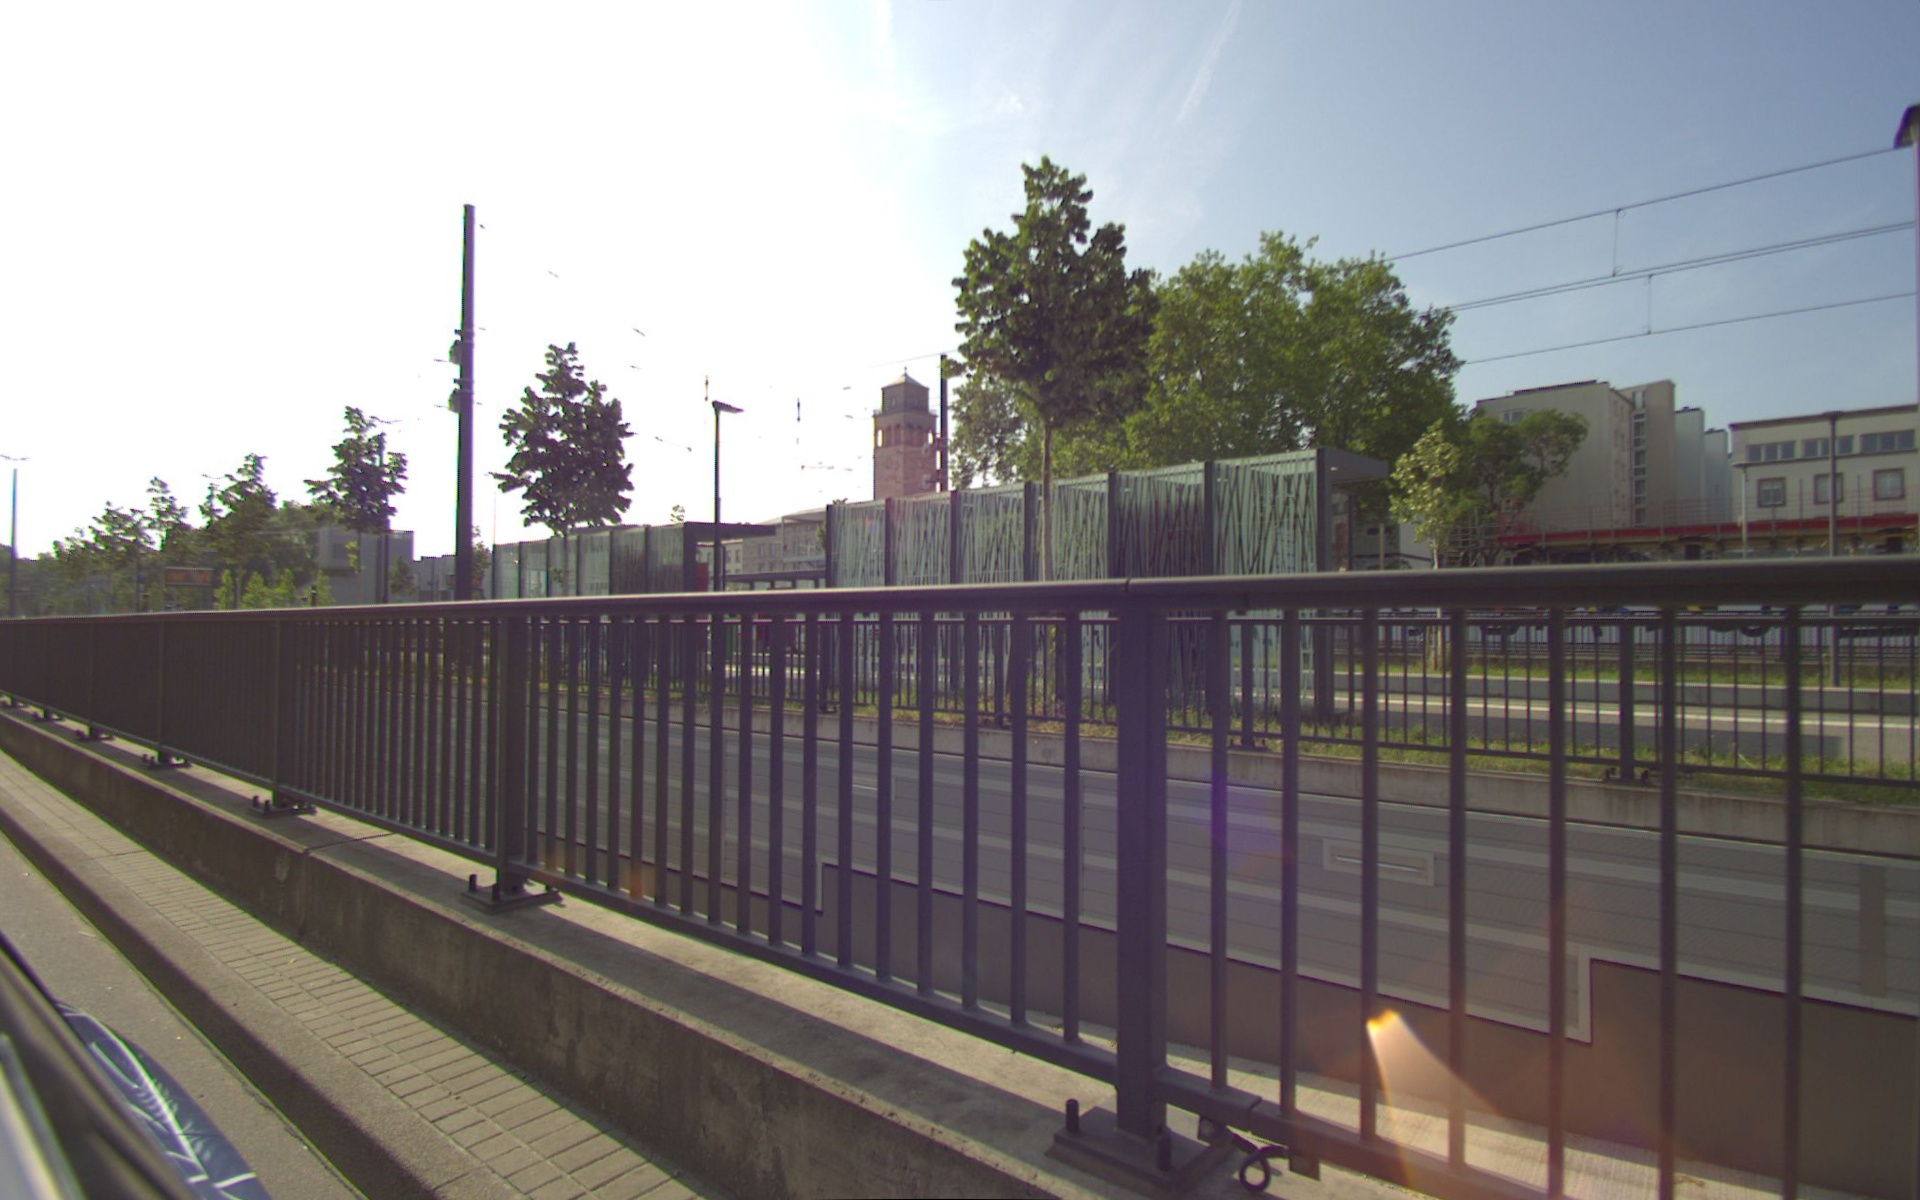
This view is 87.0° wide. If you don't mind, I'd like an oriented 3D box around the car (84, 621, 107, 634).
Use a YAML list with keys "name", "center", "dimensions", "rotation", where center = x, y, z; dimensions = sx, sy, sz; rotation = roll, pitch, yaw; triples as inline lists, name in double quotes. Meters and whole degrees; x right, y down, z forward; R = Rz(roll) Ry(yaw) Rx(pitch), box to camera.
- name: "car"
  center: [-116.790, 3.706, 136.689]
  dimensions: [4.514, 1.802, 1.599]
  rotation: [-2, -2, 39]

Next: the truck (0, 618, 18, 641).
- name: "truck"
  center: [-163.617, 5.071, 172.426]
  dimensions: [10.410, 3.838, 2.942]
  rotation: [-1, -2, 39]

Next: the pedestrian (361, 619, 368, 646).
- name: "pedestrian"
  center: [-37.774, 2.050, 64.179]
  dimensions: [0.365, 1.689, 0.642]
  rotation: [0, -1, -32]

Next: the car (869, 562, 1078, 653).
- name: "car"
  center: [0.382, 0.372, 43.671]
  dimensions: [9.228, 3.539, 3.022]
  rotation: [-1, -1, 41]

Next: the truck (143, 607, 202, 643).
- name: "truck"
  center: [-82.968, 2.673, 106.576]
  dimensions: [8.881, 3.614, 2.991]
  rotation: [-2, -2, 39]

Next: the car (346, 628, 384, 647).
- name: "car"
  center: [-46.652, 2.922, 79.298]
  dimensions: [3.432, 1.474, 1.579]
  rotation: [-1, -2, 42]

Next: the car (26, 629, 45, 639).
- name: "car"
  center: [-141.512, 5.223, 154.859]
  dimensions: [3.996, 1.614, 1.623]
  rotation: [-2, -2, 39]
